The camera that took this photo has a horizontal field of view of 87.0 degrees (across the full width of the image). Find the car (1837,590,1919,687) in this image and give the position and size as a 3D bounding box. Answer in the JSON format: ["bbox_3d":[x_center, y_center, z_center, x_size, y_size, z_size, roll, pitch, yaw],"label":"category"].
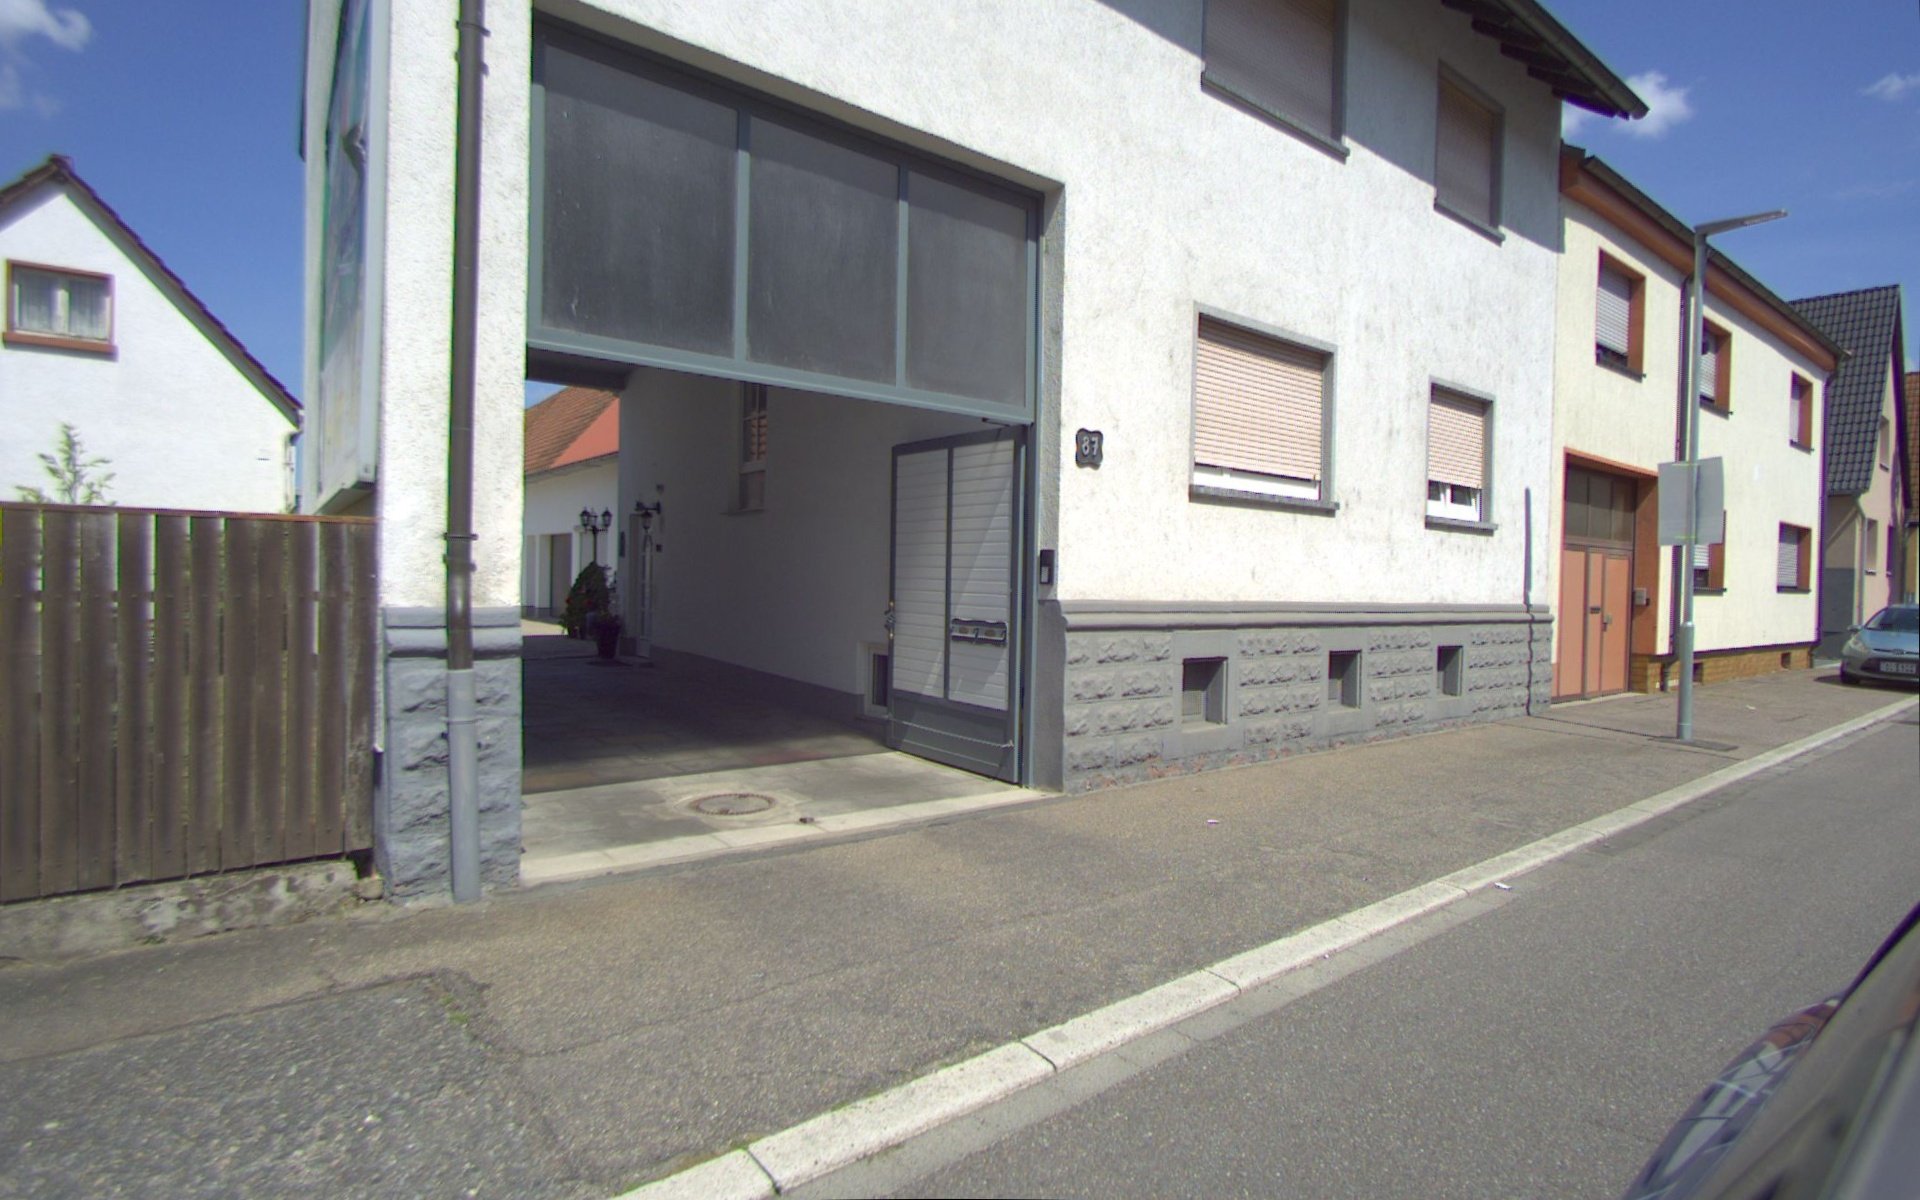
[{"bbox_3d":[16.953,0.656,17.579,3.679,1.499,1.728,0,4,-36],"label":"car"}]
